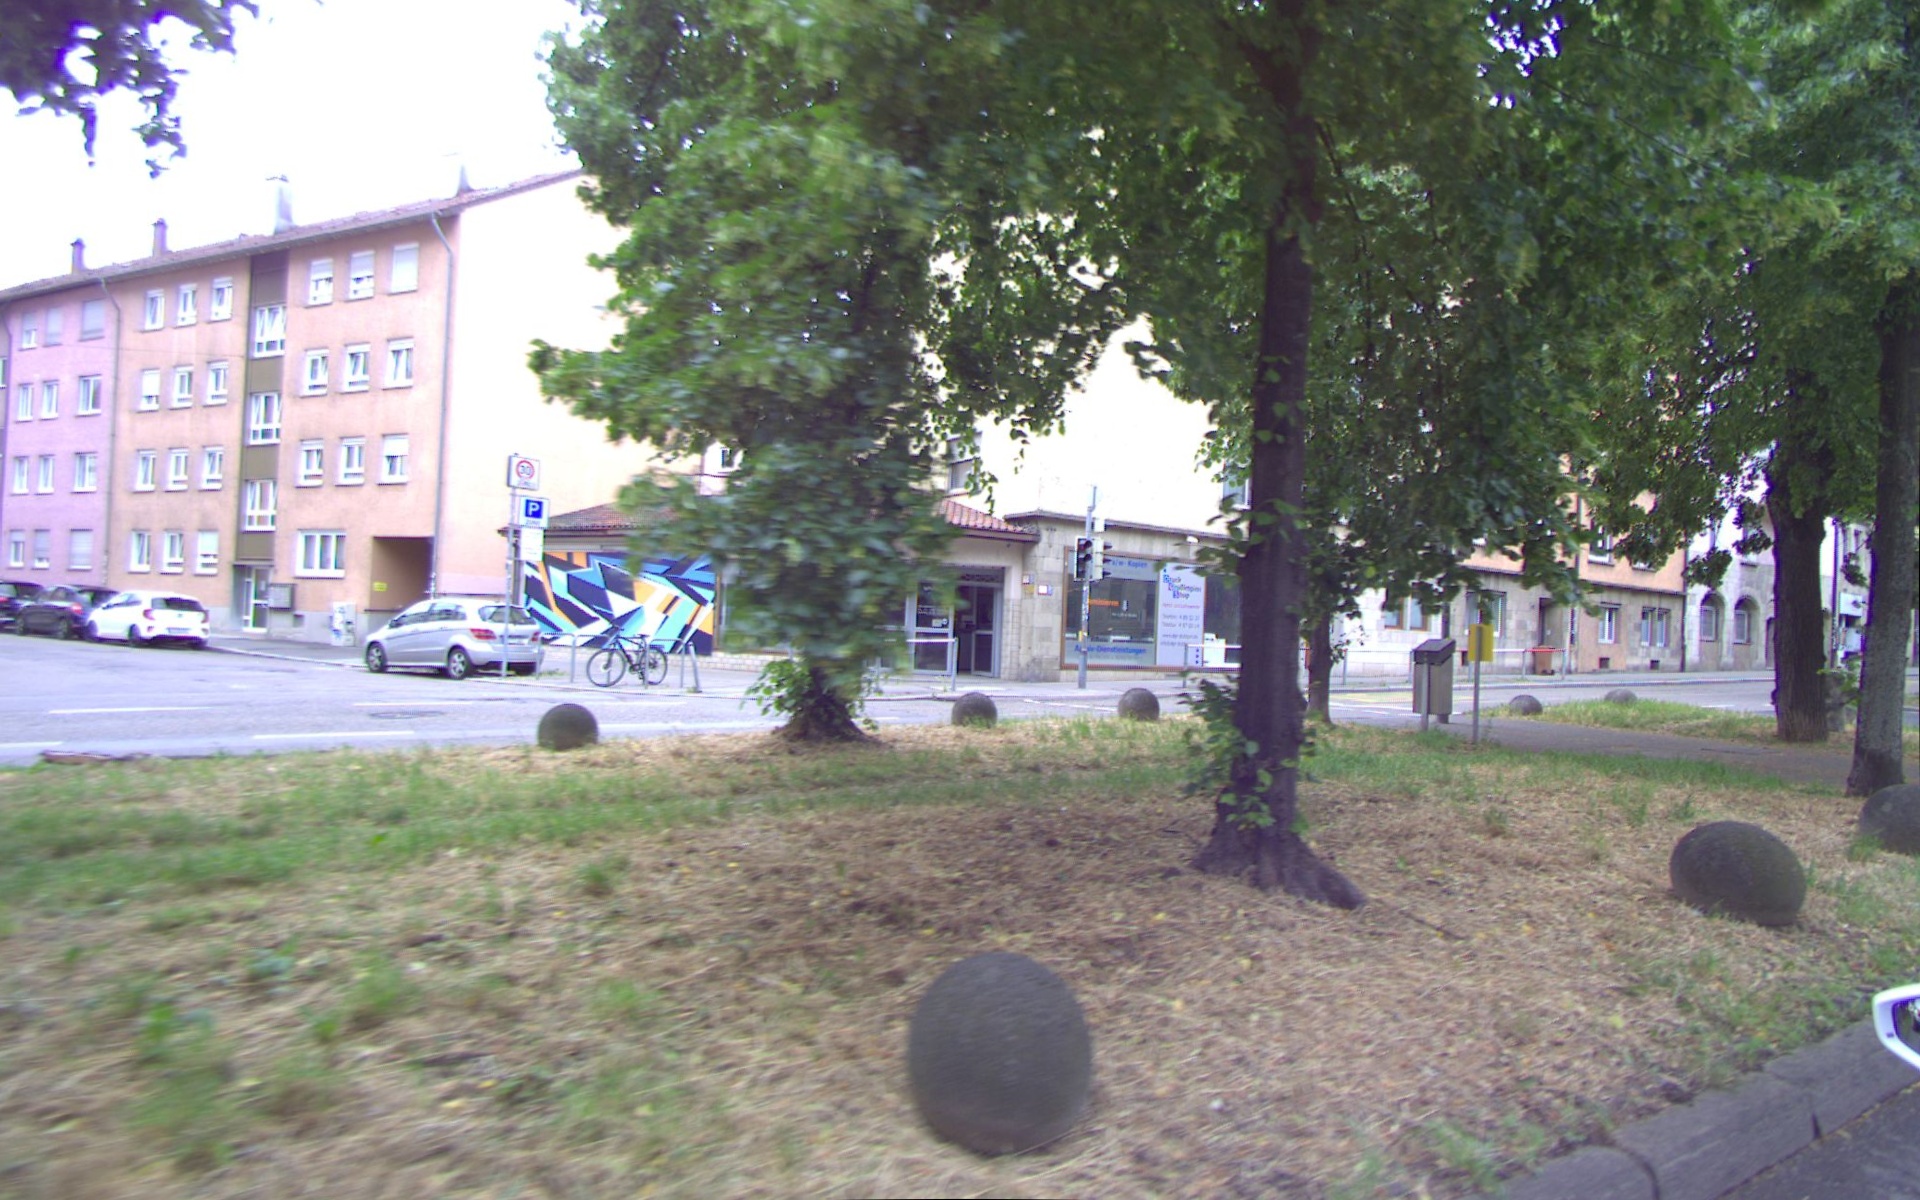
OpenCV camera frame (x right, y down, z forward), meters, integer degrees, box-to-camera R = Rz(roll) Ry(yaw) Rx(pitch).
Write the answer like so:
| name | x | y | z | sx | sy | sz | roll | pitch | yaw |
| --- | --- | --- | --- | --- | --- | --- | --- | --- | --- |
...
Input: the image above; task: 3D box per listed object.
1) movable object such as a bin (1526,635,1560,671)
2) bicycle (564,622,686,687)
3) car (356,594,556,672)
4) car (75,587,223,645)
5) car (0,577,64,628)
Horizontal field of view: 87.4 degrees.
| name | x | y | z | sx | sy | sz | roll | pitch | yaw |
| --- | --- | --- | --- | --- | --- | --- | --- | --- | --- |
| movable object such as a bin | 18.588 | 1.691 | 32.025 | 0.683 | 1.074 | 0.687 | 3 | 0 | -35 |
| bicycle | -6.139 | 0.988 | 18.497 | 0.752 | 1.099 | 2.028 | 3 | 0 | 38 |
| car | -10.618 | 0.733 | 21.130 | 3.968 | 1.498 | 1.819 | -2 | -3 | 28 |
| car | -22.222 | 0.447 | 27.522 | 3.829 | 1.498 | 1.793 | 0 | -2 | 28 |
| car | -29.827 | 0.084 | 31.152 | 3.829 | 1.498 | 1.793 | 0 | -2 | 28 |
